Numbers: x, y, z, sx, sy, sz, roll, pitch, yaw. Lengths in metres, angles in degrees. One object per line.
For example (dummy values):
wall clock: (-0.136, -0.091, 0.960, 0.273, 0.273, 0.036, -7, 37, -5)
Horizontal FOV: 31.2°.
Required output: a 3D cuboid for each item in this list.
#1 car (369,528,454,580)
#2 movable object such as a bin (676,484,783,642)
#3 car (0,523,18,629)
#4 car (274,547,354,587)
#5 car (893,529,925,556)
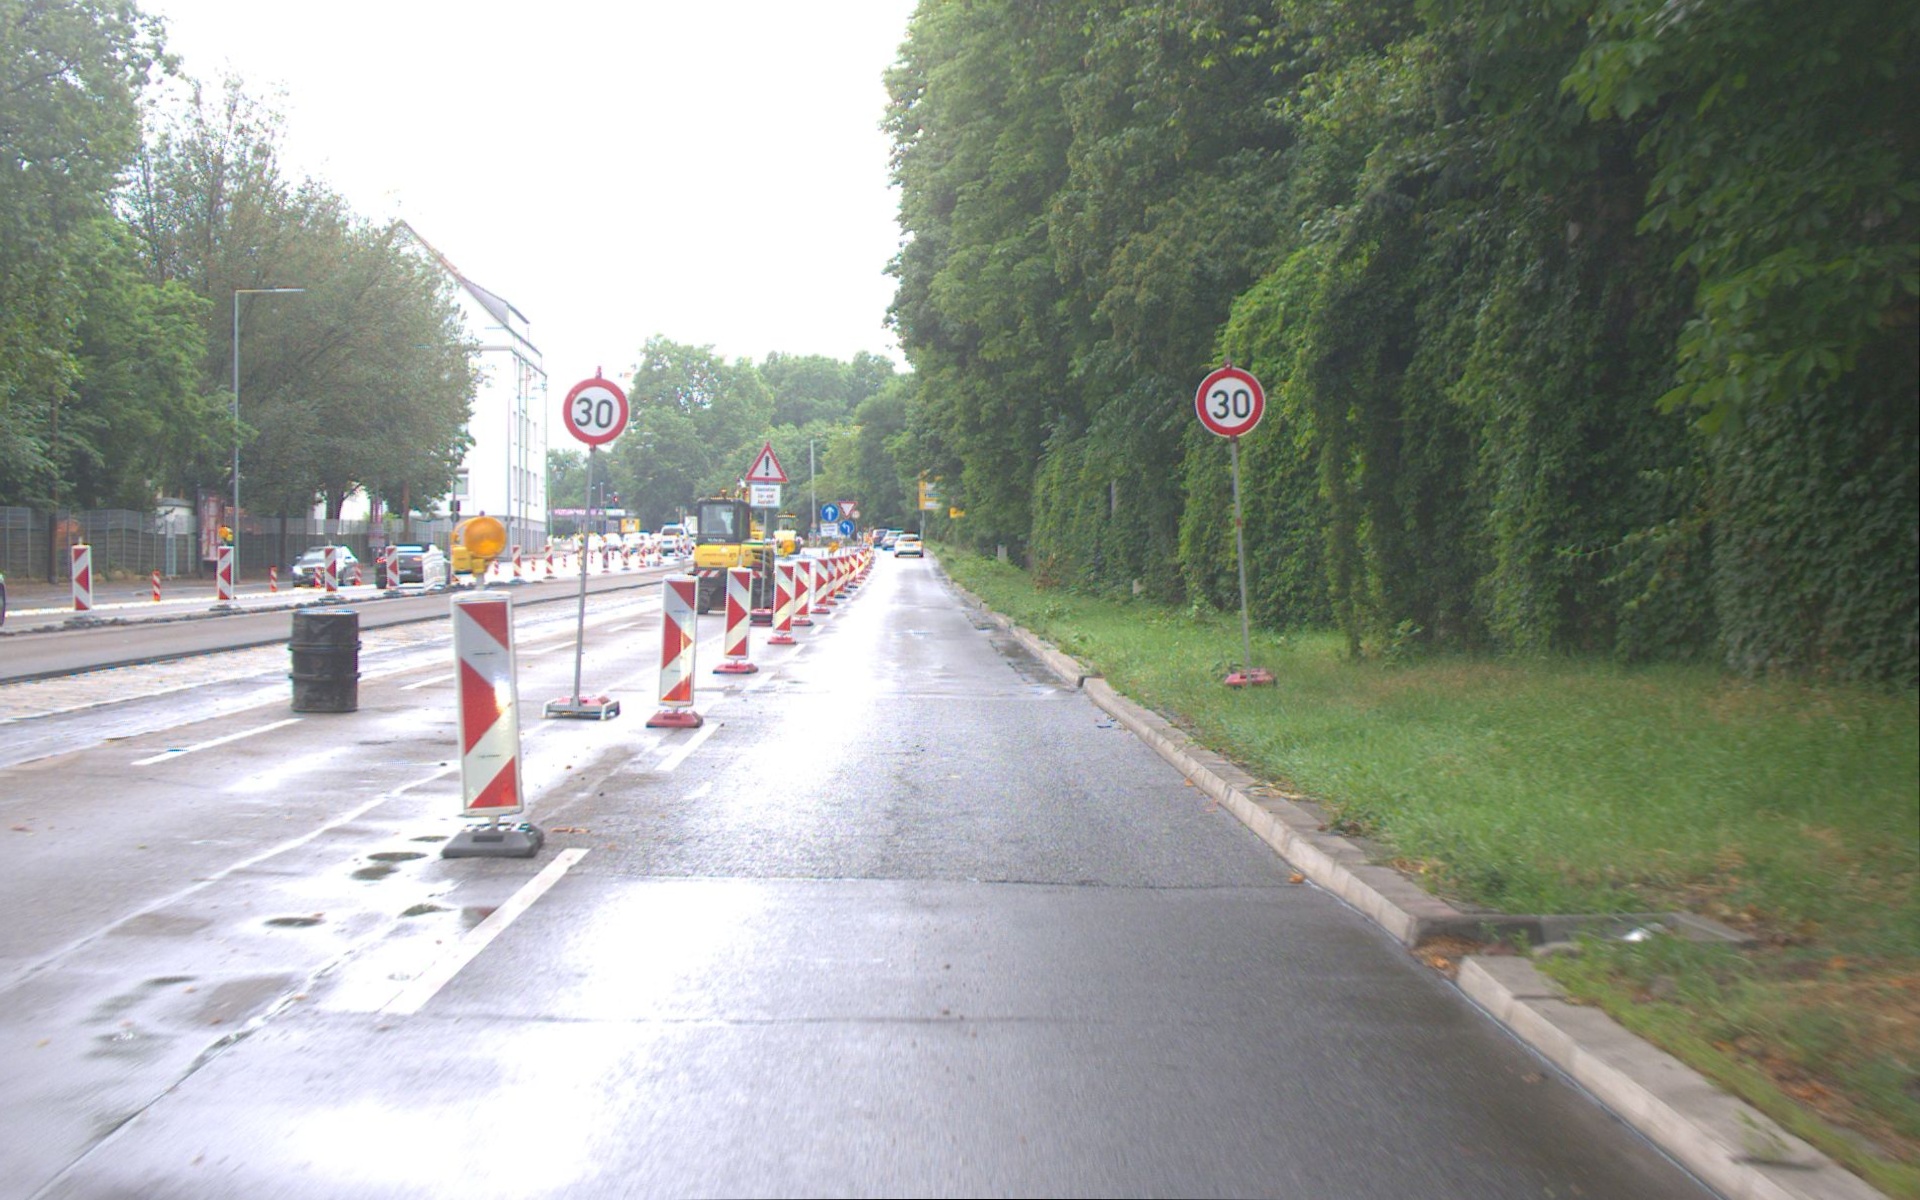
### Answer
car: (-16.709, -1.379, 104.832, 1.993, 1.514, 4.000, 1, 0, -1)
movable object such as a bin: (-5.122, -0.812, 77.060, 1.993, 3.356, 5.982, 1, 0, -1)
car: (-15.755, -0.384, 52.185, 1.854, 1.642, 4.000, 1, 0, -1)
car: (-22.935, -1.176, 122.227, 1.993, 1.343, 4.791, 1, 0, -1)
car: (-3.197, -3.620, 216.712, 1.993, 1.667, 4.000, 1, 0, -1)
